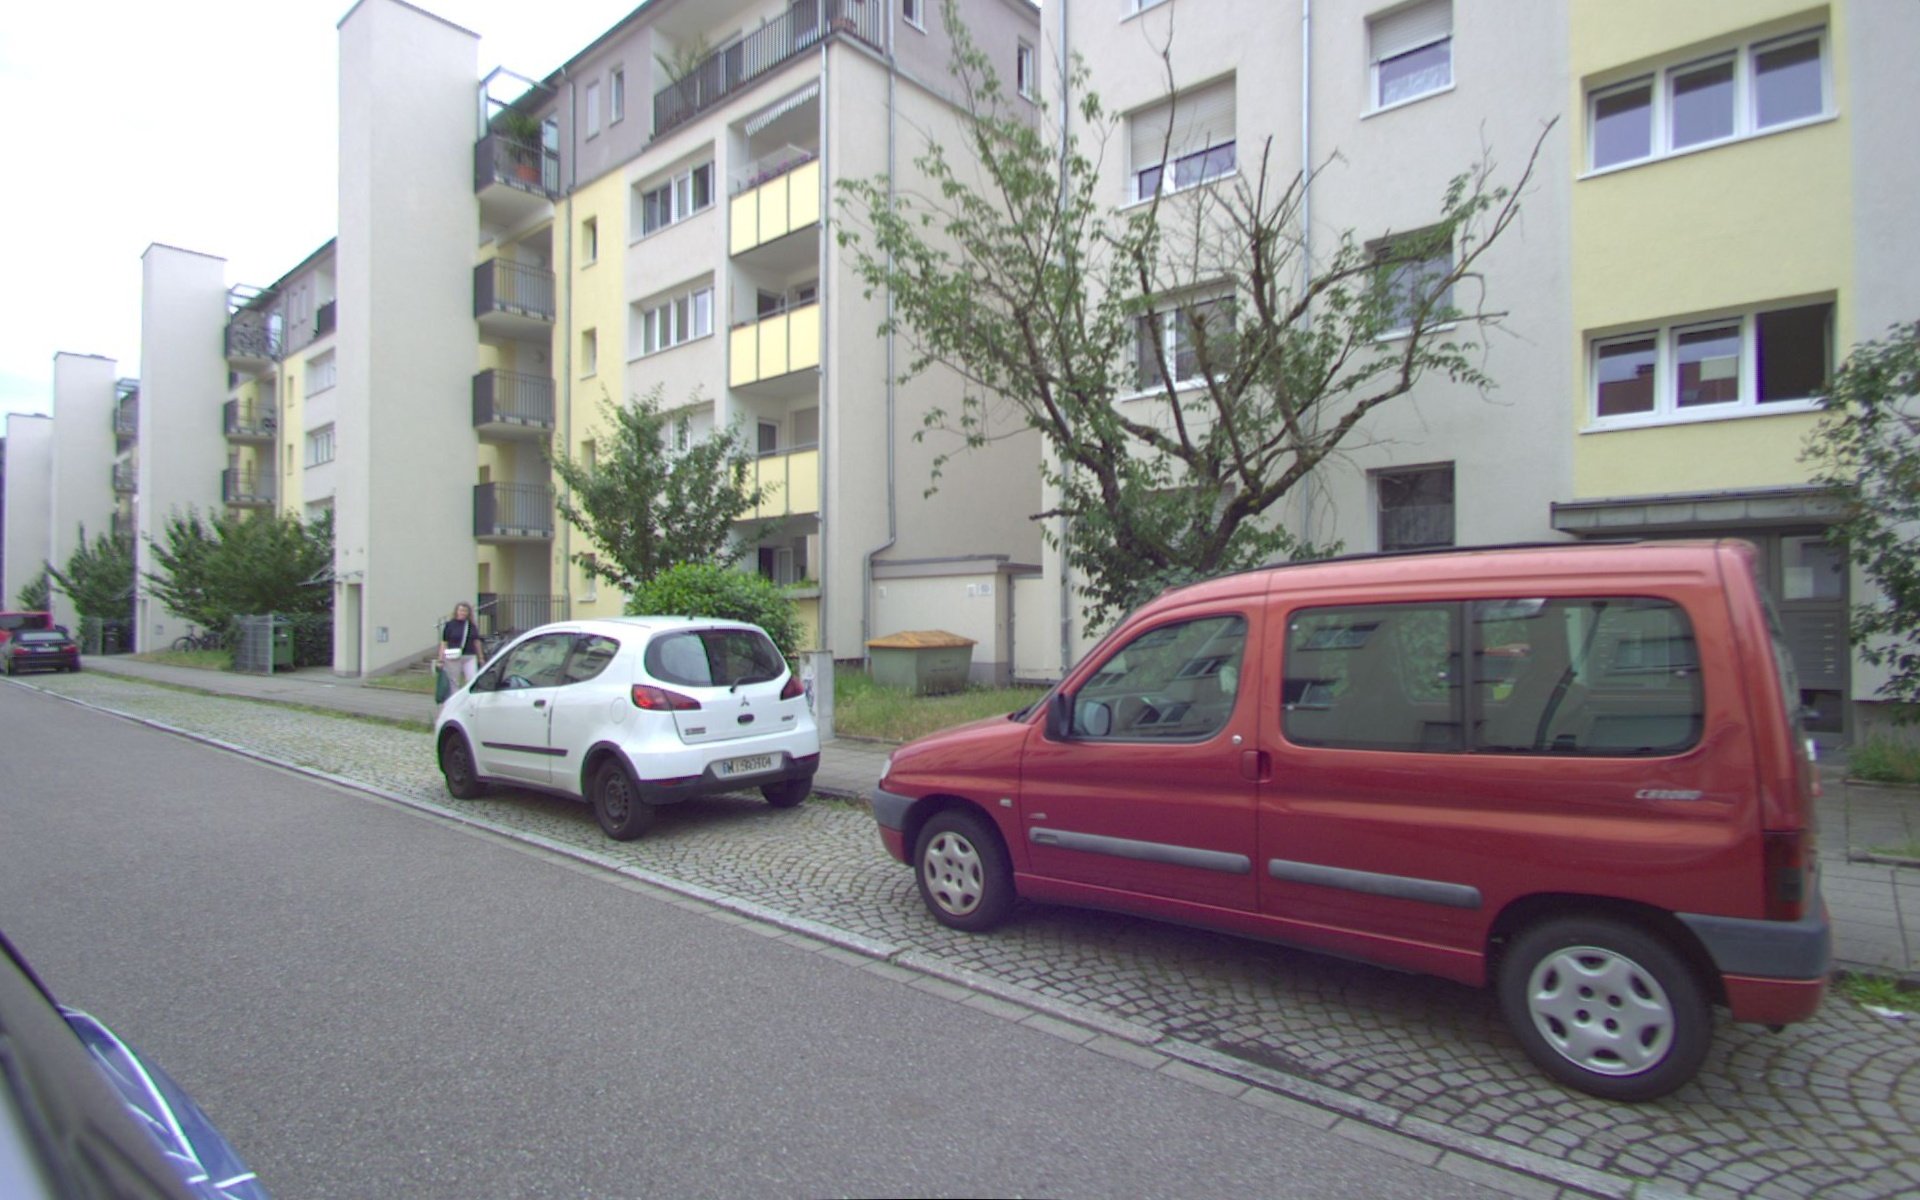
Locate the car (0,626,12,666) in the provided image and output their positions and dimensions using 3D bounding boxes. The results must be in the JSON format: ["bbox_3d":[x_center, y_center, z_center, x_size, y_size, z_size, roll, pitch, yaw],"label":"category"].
[{"bbox_3d":[-41.256,1.936,42.244,4.857,1.582,1.816,-1,0,39],"label":"car"}]

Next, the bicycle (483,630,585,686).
[{"bbox_3d":[-9.271,1.237,22.103,0.622,1.150,2.003,-1,-2,38],"label":"bicycle"}]

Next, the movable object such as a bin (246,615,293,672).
[{"bbox_3d":[-18.121,1.124,26.553,0.794,1.440,1.289,0,-1,-45],"label":"movable object such as a bin"}]

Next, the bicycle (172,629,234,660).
[{"bbox_3d":[-29.117,1.714,38.948,0.604,1.127,1.816,-2,-1,40],"label":"bicycle"}]

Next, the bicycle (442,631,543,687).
[{"bbox_3d":[-10.265,1.265,22.291,0.621,1.150,2.007,-1,-2,31],"label":"bicycle"}]

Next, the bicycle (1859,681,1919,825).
[{"bbox_3d":[6.920,0.937,5.689,2.754,0.854,0.565,-1,-3,40],"label":"bicycle"}]

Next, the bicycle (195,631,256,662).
[{"bbox_3d":[-27.655,1.726,38.116,1.812,1.127,0.571,1,-2,-43],"label":"bicycle"}]

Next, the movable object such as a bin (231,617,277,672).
[{"bbox_3d":[-19.160,1.199,27.467,1.288,1.440,0.794,-2,-1,44],"label":"movable object such as a bin"}]

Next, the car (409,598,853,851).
[{"bbox_3d":[-2.844,0.826,8.340,3.868,1.582,1.703,-1,0,41],"label":"car"}]

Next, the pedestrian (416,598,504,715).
[{"bbox_3d":[-7.210,0.795,14.591,0.945,1.622,0.792,-2,-2,37],"label":"pedestrian"}]

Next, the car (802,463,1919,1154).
[{"bbox_3d":[1.464,0.579,4.708,4.357,1.784,1.937,-1,-1,39],"label":"car"}]

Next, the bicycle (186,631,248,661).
[{"bbox_3d":[-28.419,1.743,38.724,0.570,1.127,1.814,-2,-2,43],"label":"bicycle"}]

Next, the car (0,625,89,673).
[{"bbox_3d":[-28.568,1.475,31.262,4.358,1.333,1.851,-1,0,40],"label":"car"}]

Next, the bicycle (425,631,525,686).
[{"bbox_3d":[-10.810,1.273,22.613,0.621,1.150,2.007,-1,-2,31],"label":"bicycle"}]

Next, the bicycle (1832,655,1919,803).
[{"bbox_3d":[7.596,0.892,6.679,2.754,1.006,0.769,-1,-3,40],"label":"bicycle"}]

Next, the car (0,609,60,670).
[{"bbox_3d":[-33.313,1.363,35.285,4.917,1.968,2.130,-1,0,39],"label":"car"}]
